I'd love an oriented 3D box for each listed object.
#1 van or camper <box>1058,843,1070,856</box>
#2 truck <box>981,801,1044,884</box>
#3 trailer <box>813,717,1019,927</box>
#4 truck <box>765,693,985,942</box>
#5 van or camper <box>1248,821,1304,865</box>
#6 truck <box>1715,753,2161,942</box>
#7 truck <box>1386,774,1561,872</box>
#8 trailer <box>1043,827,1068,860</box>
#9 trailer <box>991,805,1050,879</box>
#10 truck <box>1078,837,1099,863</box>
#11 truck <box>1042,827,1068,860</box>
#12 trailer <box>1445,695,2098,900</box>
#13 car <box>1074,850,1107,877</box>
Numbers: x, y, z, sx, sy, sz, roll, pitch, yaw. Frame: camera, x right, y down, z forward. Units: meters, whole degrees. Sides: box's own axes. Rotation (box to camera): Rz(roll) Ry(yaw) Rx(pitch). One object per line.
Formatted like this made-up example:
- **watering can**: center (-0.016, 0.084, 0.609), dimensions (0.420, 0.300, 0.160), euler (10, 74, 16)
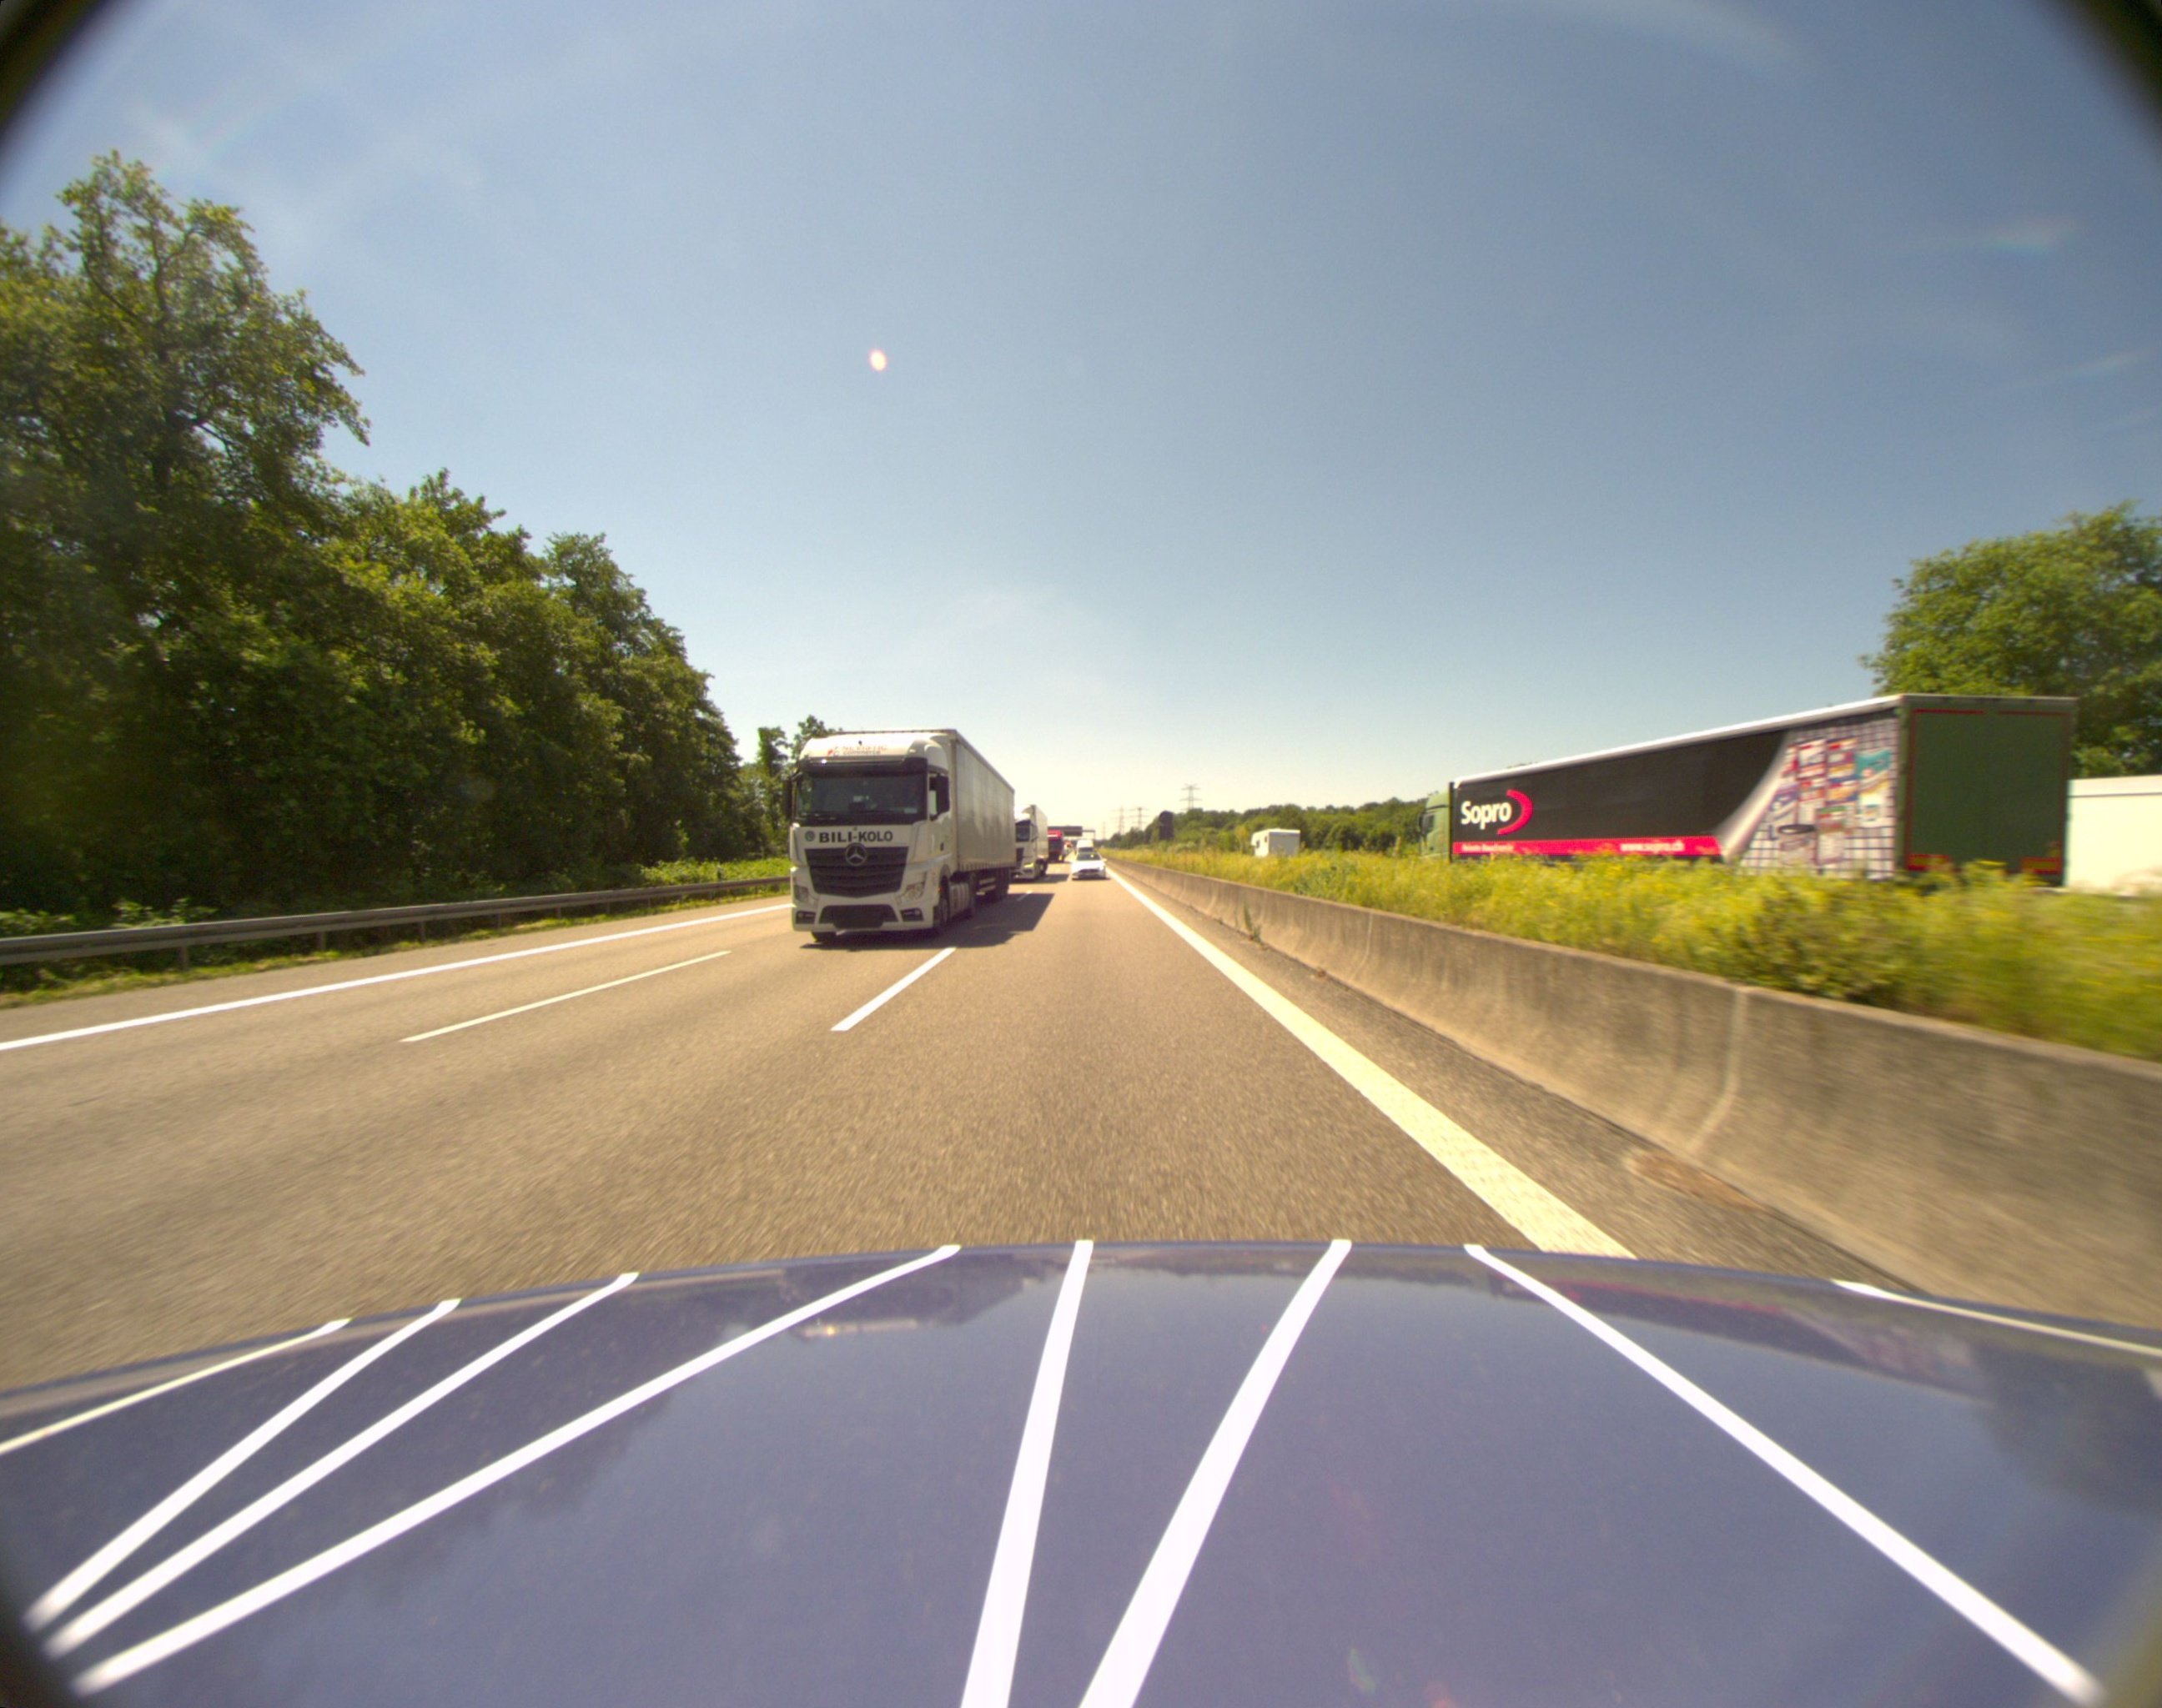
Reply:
- **van or camper**: center (-3.381, -0.976, 152.975), dimensions (2.412, 2.483, 6.430), euler (-1, 1, -1)
- **truck**: center (-3.525, -0.600, 40.474), dimensions (2.807, 3.984, 6.019), euler (-1, 1, -1)
- **trailer**: center (-3.822, -0.766, 22.294), dimensions (2.714, 4.045, 14.742), euler (-2, 1, 0)
- **truck**: center (-3.834, -0.662, 15.893), dimensions (2.707, 4.071, 6.451), euler (-2, 1, 0)
- **van or camper**: center (14.969, -0.840, 58.895), dimensions (2.513, 3.137, 7.534), euler (-2, 0, 1)
- **truck**: center (18.145, -0.143, 14.915), dimensions (2.694, 2.925, 10.485), euler (-1, 1, 0)
- **truck**: center (13.463, -0.982, 26.842), dimensions (2.613, 2.991, 6.971), euler (-1, 1, 0)
- **trailer**: center (-3.372, -1.444, 103.189), dimensions (2.945, 3.995, 16.195), euler (-2, 1, -1)
- **trailer**: center (-3.614, -0.723, 48.405), dimensions (2.802, 4.012, 12.564), euler (-1, 1, -1)
- **truck**: center (0.846, -0.501, 88.070), dimensions (2.192, 2.842, 5.502), euler (-2, 1, -1)
- **truck**: center (-3.195, -1.312, 94.337), dimensions (2.949, 3.963, 6.099), euler (-2, 1, -1)
- **trailer**: center (13.469, -0.879, 18.187), dimensions (2.649, 2.952, 14.230), euler (-1, 0, 0)
- **car**: center (0.512, 0.517, 45.052), dimensions (1.788, 1.462, 3.999), euler (-1, 1, -1)
